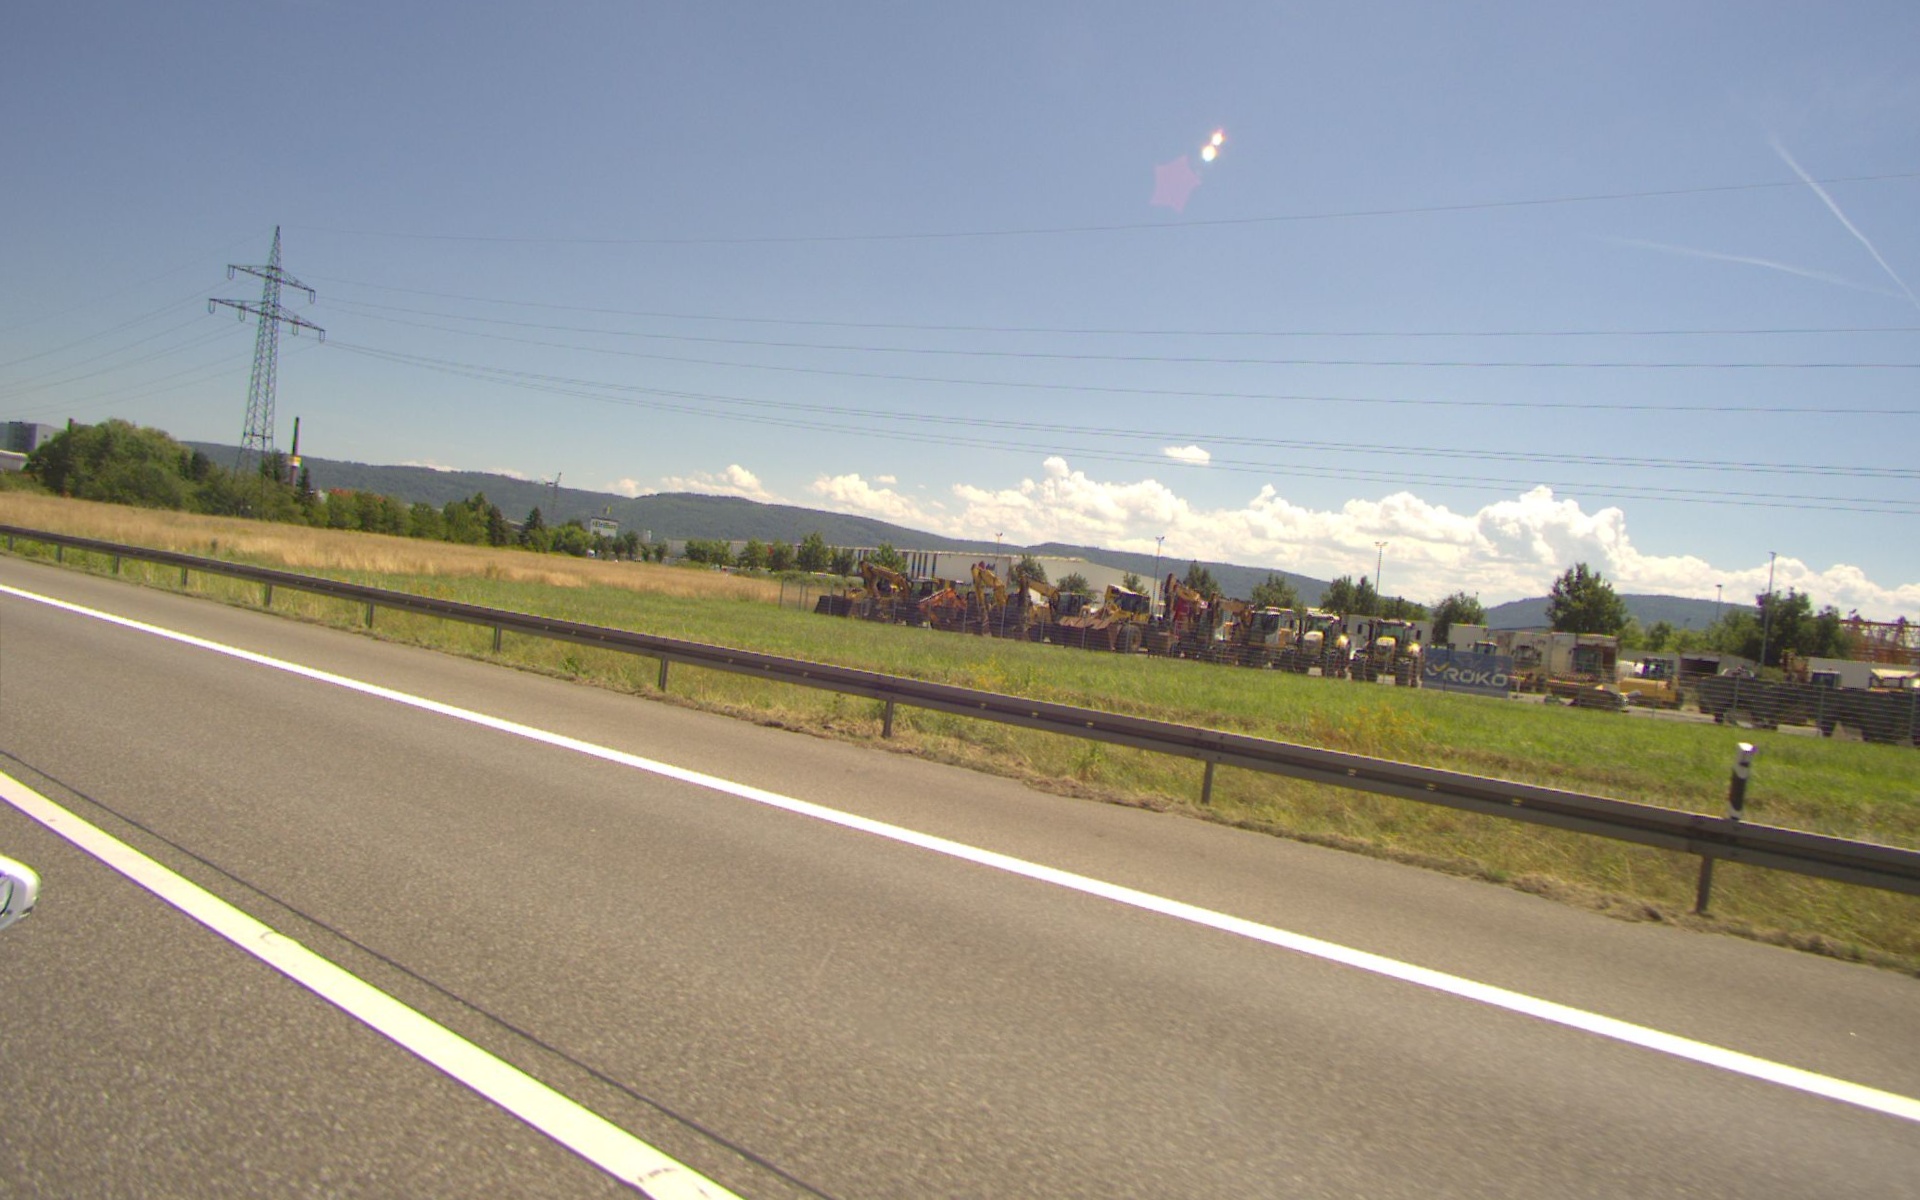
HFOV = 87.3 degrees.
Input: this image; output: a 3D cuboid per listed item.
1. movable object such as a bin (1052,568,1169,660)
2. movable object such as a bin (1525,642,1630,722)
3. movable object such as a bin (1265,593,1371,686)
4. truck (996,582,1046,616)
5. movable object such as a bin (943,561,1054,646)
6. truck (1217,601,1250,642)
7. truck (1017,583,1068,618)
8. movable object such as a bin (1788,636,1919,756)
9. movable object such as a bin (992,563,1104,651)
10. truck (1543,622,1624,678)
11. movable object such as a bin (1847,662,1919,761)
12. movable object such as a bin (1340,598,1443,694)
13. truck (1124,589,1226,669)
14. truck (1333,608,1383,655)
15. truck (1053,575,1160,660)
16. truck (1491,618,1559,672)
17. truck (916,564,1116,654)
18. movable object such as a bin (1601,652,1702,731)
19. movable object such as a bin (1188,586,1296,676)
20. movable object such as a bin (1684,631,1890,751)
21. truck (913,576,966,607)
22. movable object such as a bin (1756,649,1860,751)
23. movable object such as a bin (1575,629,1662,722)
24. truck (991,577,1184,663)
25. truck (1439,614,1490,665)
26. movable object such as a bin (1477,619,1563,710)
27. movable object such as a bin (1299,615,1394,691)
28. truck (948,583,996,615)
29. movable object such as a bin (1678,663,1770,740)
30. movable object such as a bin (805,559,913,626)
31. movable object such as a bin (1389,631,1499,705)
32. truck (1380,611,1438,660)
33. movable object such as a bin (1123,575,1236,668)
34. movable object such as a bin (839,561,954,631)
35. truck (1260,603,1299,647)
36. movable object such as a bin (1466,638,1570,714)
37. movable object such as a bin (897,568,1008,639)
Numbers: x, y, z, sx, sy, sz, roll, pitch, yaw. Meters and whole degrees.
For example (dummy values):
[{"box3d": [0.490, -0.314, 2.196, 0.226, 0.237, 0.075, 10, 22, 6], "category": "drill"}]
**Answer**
[{"box3d": [8.958, 0.919, 58.904, 3.297, 4.346, 8.107, 6, -2, 33], "category": "movable object such as a bin"}, {"box3d": [38.550, 5.168, 62.646, 8.446, 4.066, 3.252, 9, -2, -44], "category": "movable object such as a bin"}, {"box3d": [18.898, 2.171, 52.769, 3.087, 3.996, 8.107, 6, -2, 33], "category": "movable object such as a bin"}, {"box3d": [7.376, -0.085, 120.289, 2.708, 3.455, 8.162, 6, 1, 26], "category": "truck"}, {"box3d": [2.571, 0.347, 63.511, 2.835, 4.346, 8.107, 6, -2, 33], "category": "movable object such as a bin"}, {"box3d": [25.803, 2.006, 94.708, 2.586, 3.455, 8.172, 6, 1, 16], "category": "truck"}, {"box3d": [9.463, 0.141, 114.841, 2.708, 3.455, 8.162, 6, 1, 26], "category": "truck"}, {"box3d": [38.335, 4.135, 41.009, 9.279, 4.098, 3.414, 8, -2, -27], "category": "movable object such as a bin"}, {"box3d": [5.488, 0.545, 61.087, 2.835, 4.346, 8.107, 6, -2, 33], "category": "movable object such as a bin"}, {"box3d": [43.670, 3.431, 70.705, 2.784, 3.455, 8.170, 6, 1, 19], "category": "truck"}, {"box3d": [51.538, 6.239, 55.503, 7.111, 4.798, 2.684, 9, -2, -41], "category": "movable object such as a bin"}, {"box3d": [21.959, 2.429, 50.901, 3.087, 3.996, 8.107, 6, -2, 33], "category": "movable object such as a bin"}, {"box3d": [15.231, 2.020, 71.177, 5.885, 4.828, 3.049, 6, -1, 33], "category": "truck"}, {"box3d": [33.420, 2.621, 84.717, 2.783, 3.455, 8.172, 6, 1, 16], "category": "truck"}, {"box3d": [9.814, 1.151, 67.368, 5.885, 4.828, 3.049, 6, -1, 33], "category": "truck"}, {"box3d": [41.292, 3.238, 73.805, 2.784, 3.455, 8.169, 6, 1, 21], "category": "truck"}, {"box3d": [3.719, 0.500, 71.352, 14.091, 4.828, 3.049, 6, -2, 33], "category": "truck"}, {"box3d": [42.715, 5.722, 61.968, 8.446, 4.009, 3.252, 9, -2, -44], "category": "movable object such as a bin"}, {"box3d": [15.568, 1.819, 55.019, 3.087, 3.996, 8.107, 6, -2, 33], "category": "movable object such as a bin"}, {"box3d": [36.622, 4.051, 44.475, 9.279, 4.098, 3.414, 8, -2, -27], "category": "movable object such as a bin"}, {"box3d": [-2.724, -1.063, 134.844, 2.783, 3.455, 8.151, 7, 1, 32], "category": "truck"}, {"box3d": [47.238, 5.653, 55.909, 8.446, 4.860, 3.252, 9, -2, -44], "category": "movable object such as a bin"}, {"box3d": [33.433, 3.962, 51.194, 3.087, 3.996, 8.107, 6, -2, 33], "category": "movable object such as a bin"}, {"box3d": [9.298, 1.387, 75.079, 13.904, 4.828, 3.049, 6, -2, 33], "category": "truck"}, {"box3d": [38.705, 3.035, 77.354, 2.786, 3.455, 8.164, 6, 1, 24], "category": "truck"}, {"box3d": [29.553, 3.515, 52.896, 3.087, 3.996, 8.107, 6, -2, 33], "category": "movable object such as a bin"}, {"box3d": [28.711, 4.008, 74.448, 3.248, 4.703, 8.804, 6, -2, 41], "category": "movable object such as a bin"}, {"box3d": [1.635, -0.105, 128.023, 2.778, 3.455, 8.164, 6, 1, 24], "category": "truck"}, {"box3d": [44.803, 6.004, 58.884, 3.249, 3.757, 7.857, 6, -2, 43], "category": "movable object such as a bin"}, {"box3d": [-6.726, -0.411, 68.377, 2.835, 3.503, 7.578, 6, -2, 33], "category": "movable object such as a bin"}, {"box3d": [32.984, 4.684, 68.344, 8.782, 4.009, 3.255, 9, -2, -41], "category": "movable object such as a bin"}, {"box3d": [36.042, 2.827, 81.027, 2.783, 3.455, 8.172, 6, 1, 16], "category": "truck"}, {"box3d": [12.610, 1.335, 57.174, 3.246, 4.346, 8.107, 6, -2, 33], "category": "movable object such as a bin"}, {"box3d": [-3.976, -0.164, 65.385, 2.835, 3.502, 8.107, 6, -2, 33], "category": "movable object such as a bin"}, {"box3d": [28.797, 2.250, 90.841, 2.783, 3.455, 8.172, 6, 1, 16], "category": "truck"}, {"box3d": [36.254, 4.992, 65.182, 8.446, 4.009, 3.252, 9, -2, -44], "category": "movable object such as a bin"}, {"box3d": [-0.339, 0.301, 64.944, 2.835, 3.502, 8.107, 6, -2, 33], "category": "movable object such as a bin"}]
